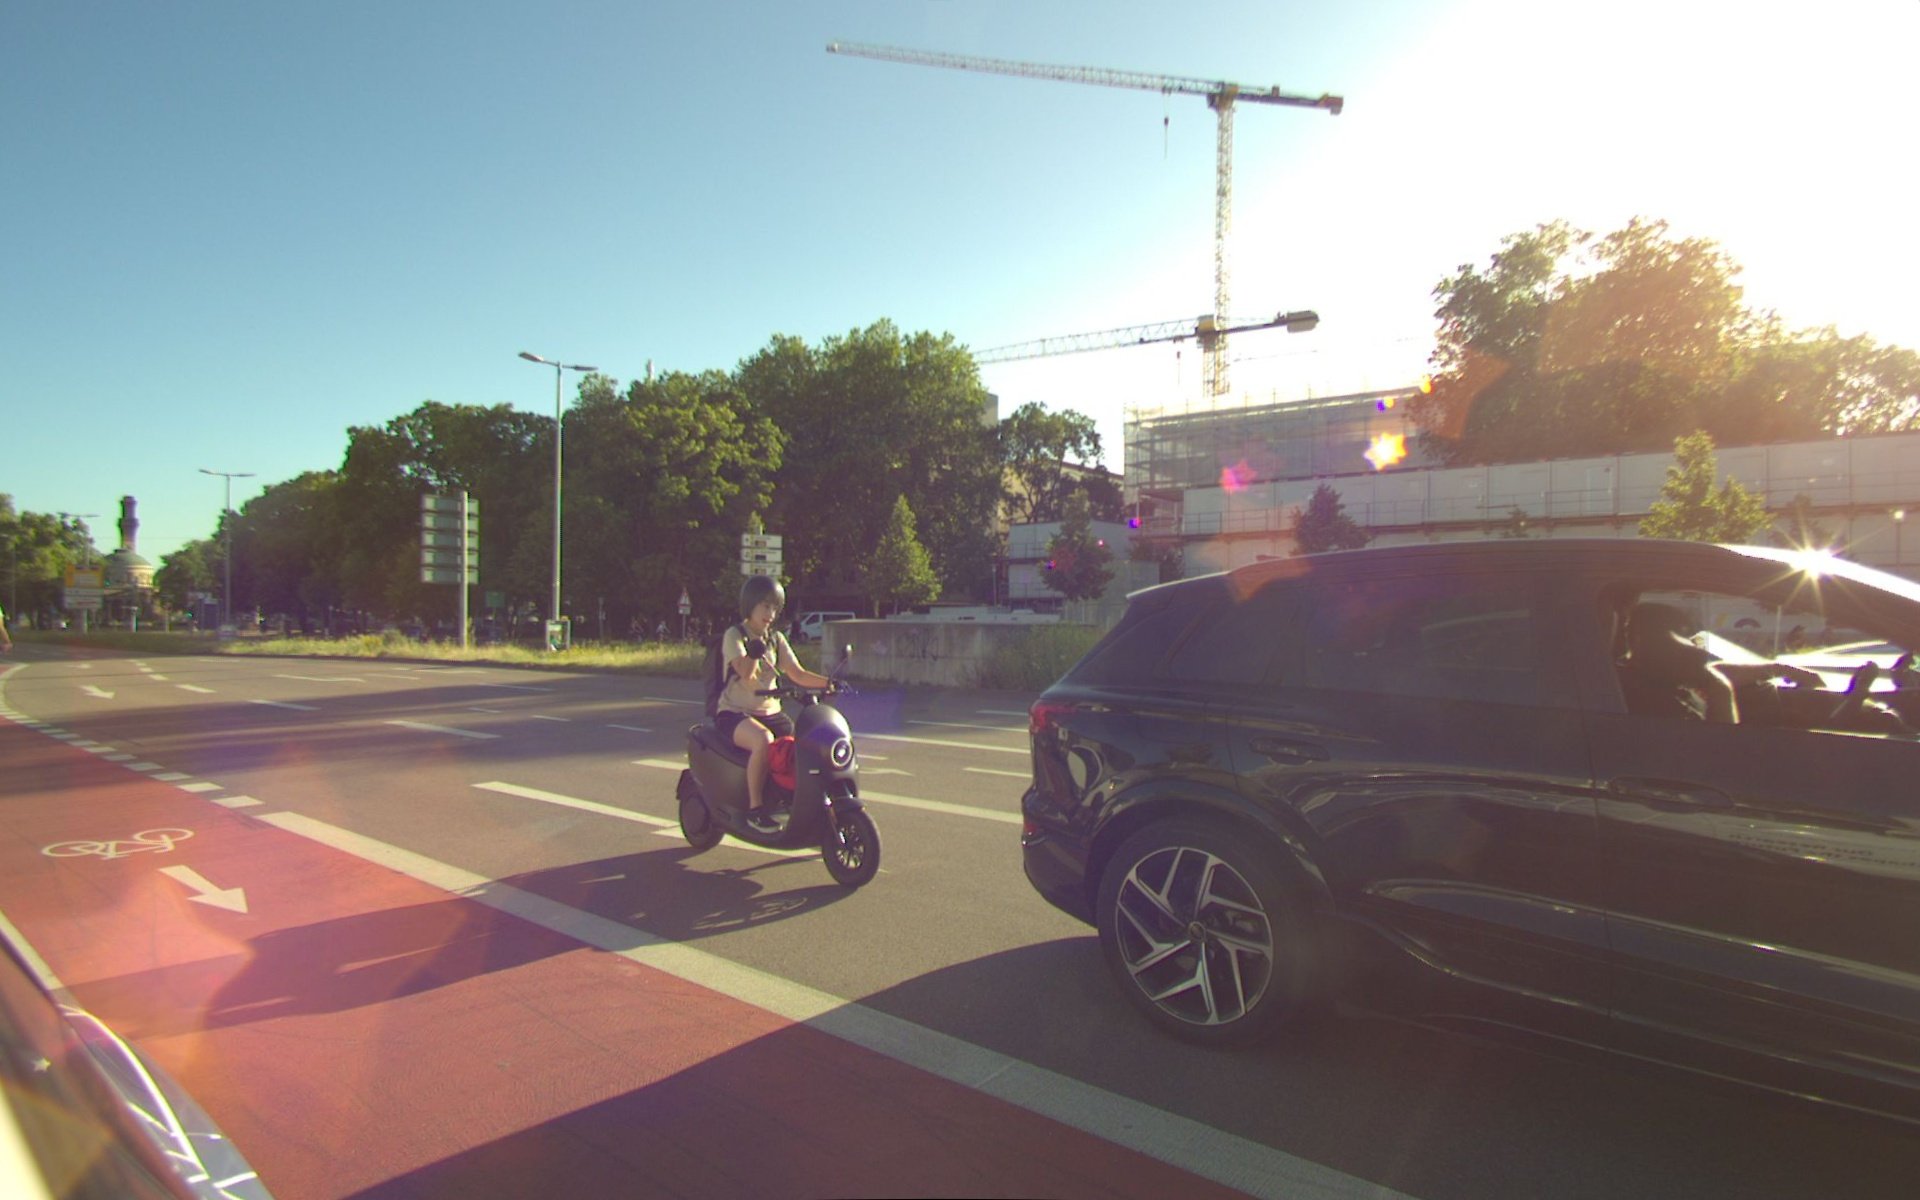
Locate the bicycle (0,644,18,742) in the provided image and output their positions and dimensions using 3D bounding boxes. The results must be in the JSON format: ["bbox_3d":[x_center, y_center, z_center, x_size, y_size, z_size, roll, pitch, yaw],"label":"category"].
[{"bbox_3d":[-12.439,1.142,12.677,1.890,1.156,0.731,-1,-2,41],"label":"bicycle"}]

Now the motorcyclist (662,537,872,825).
[{"bbox_3d":[-1.098,0.425,5.782,0.877,1.475,0.813,-1,-2,41],"label":"motorcyclist"}]

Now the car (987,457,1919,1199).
[{"bbox_3d":[2.577,0.550,3.185,4.660,1.720,2.144,-1,-1,39],"label":"car"}]

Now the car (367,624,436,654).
[{"bbox_3d":[-28.952,1.998,52.418,3.979,1.492,1.857,-1,-2,41],"label":"car"}]

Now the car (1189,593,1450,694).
[{"bbox_3d":[7.560,0.892,21.586,4.925,1.937,1.863,-1,-2,39],"label":"car"}]

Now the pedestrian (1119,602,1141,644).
[{"bbox_3d":[6.565,0.872,39.061,0.597,1.614,0.580,-1,0,38],"label":"pedestrian"}]

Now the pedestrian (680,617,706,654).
[{"bbox_3d":[-14.356,1.894,54.401,0.815,1.978,1.111,-1,0,41],"label":"pedestrian"}]

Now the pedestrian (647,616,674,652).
[{"bbox_3d":[-16.665,1.885,56.313,1.054,1.978,0.942,-1,0,26],"label":"pedestrian"}]

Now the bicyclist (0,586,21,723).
[{"bbox_3d":[-12.419,0.682,12.719,0.851,1.713,0.797,-1,-2,41],"label":"bicyclist"}]

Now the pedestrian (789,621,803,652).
[{"bbox_3d":[-8.204,1.812,50.736,0.494,1.522,0.492,-1,-2,41],"label":"pedestrian"}]

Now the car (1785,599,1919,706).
[{"bbox_3d":[13.502,0.683,13.402,3.941,1.387,1.705,-1,-2,41],"label":"car"}]

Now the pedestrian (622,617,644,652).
[{"bbox_3d":[-19.023,2.004,58.878,0.948,2.029,0.836,-1,0,15],"label":"pedestrian"}]

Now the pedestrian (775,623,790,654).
[{"bbox_3d":[-8.782,1.924,50.069,0.494,1.522,0.492,-1,-2,41],"label":"pedestrian"}]

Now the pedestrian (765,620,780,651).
[{"bbox_3d":[-9.124,1.713,49.269,0.494,1.522,0.492,-1,-2,41],"label":"pedestrian"}]

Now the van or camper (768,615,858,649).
[{"bbox_3d":[-8.956,1.934,61.896,1.951,1.960,5.425,-2,-2,44],"label":"van or camper"}]

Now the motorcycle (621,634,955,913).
[{"bbox_3d":[-1.020,0.844,5.705,1.943,1.290,0.817,-1,-2,41],"label":"motorcycle"}]
